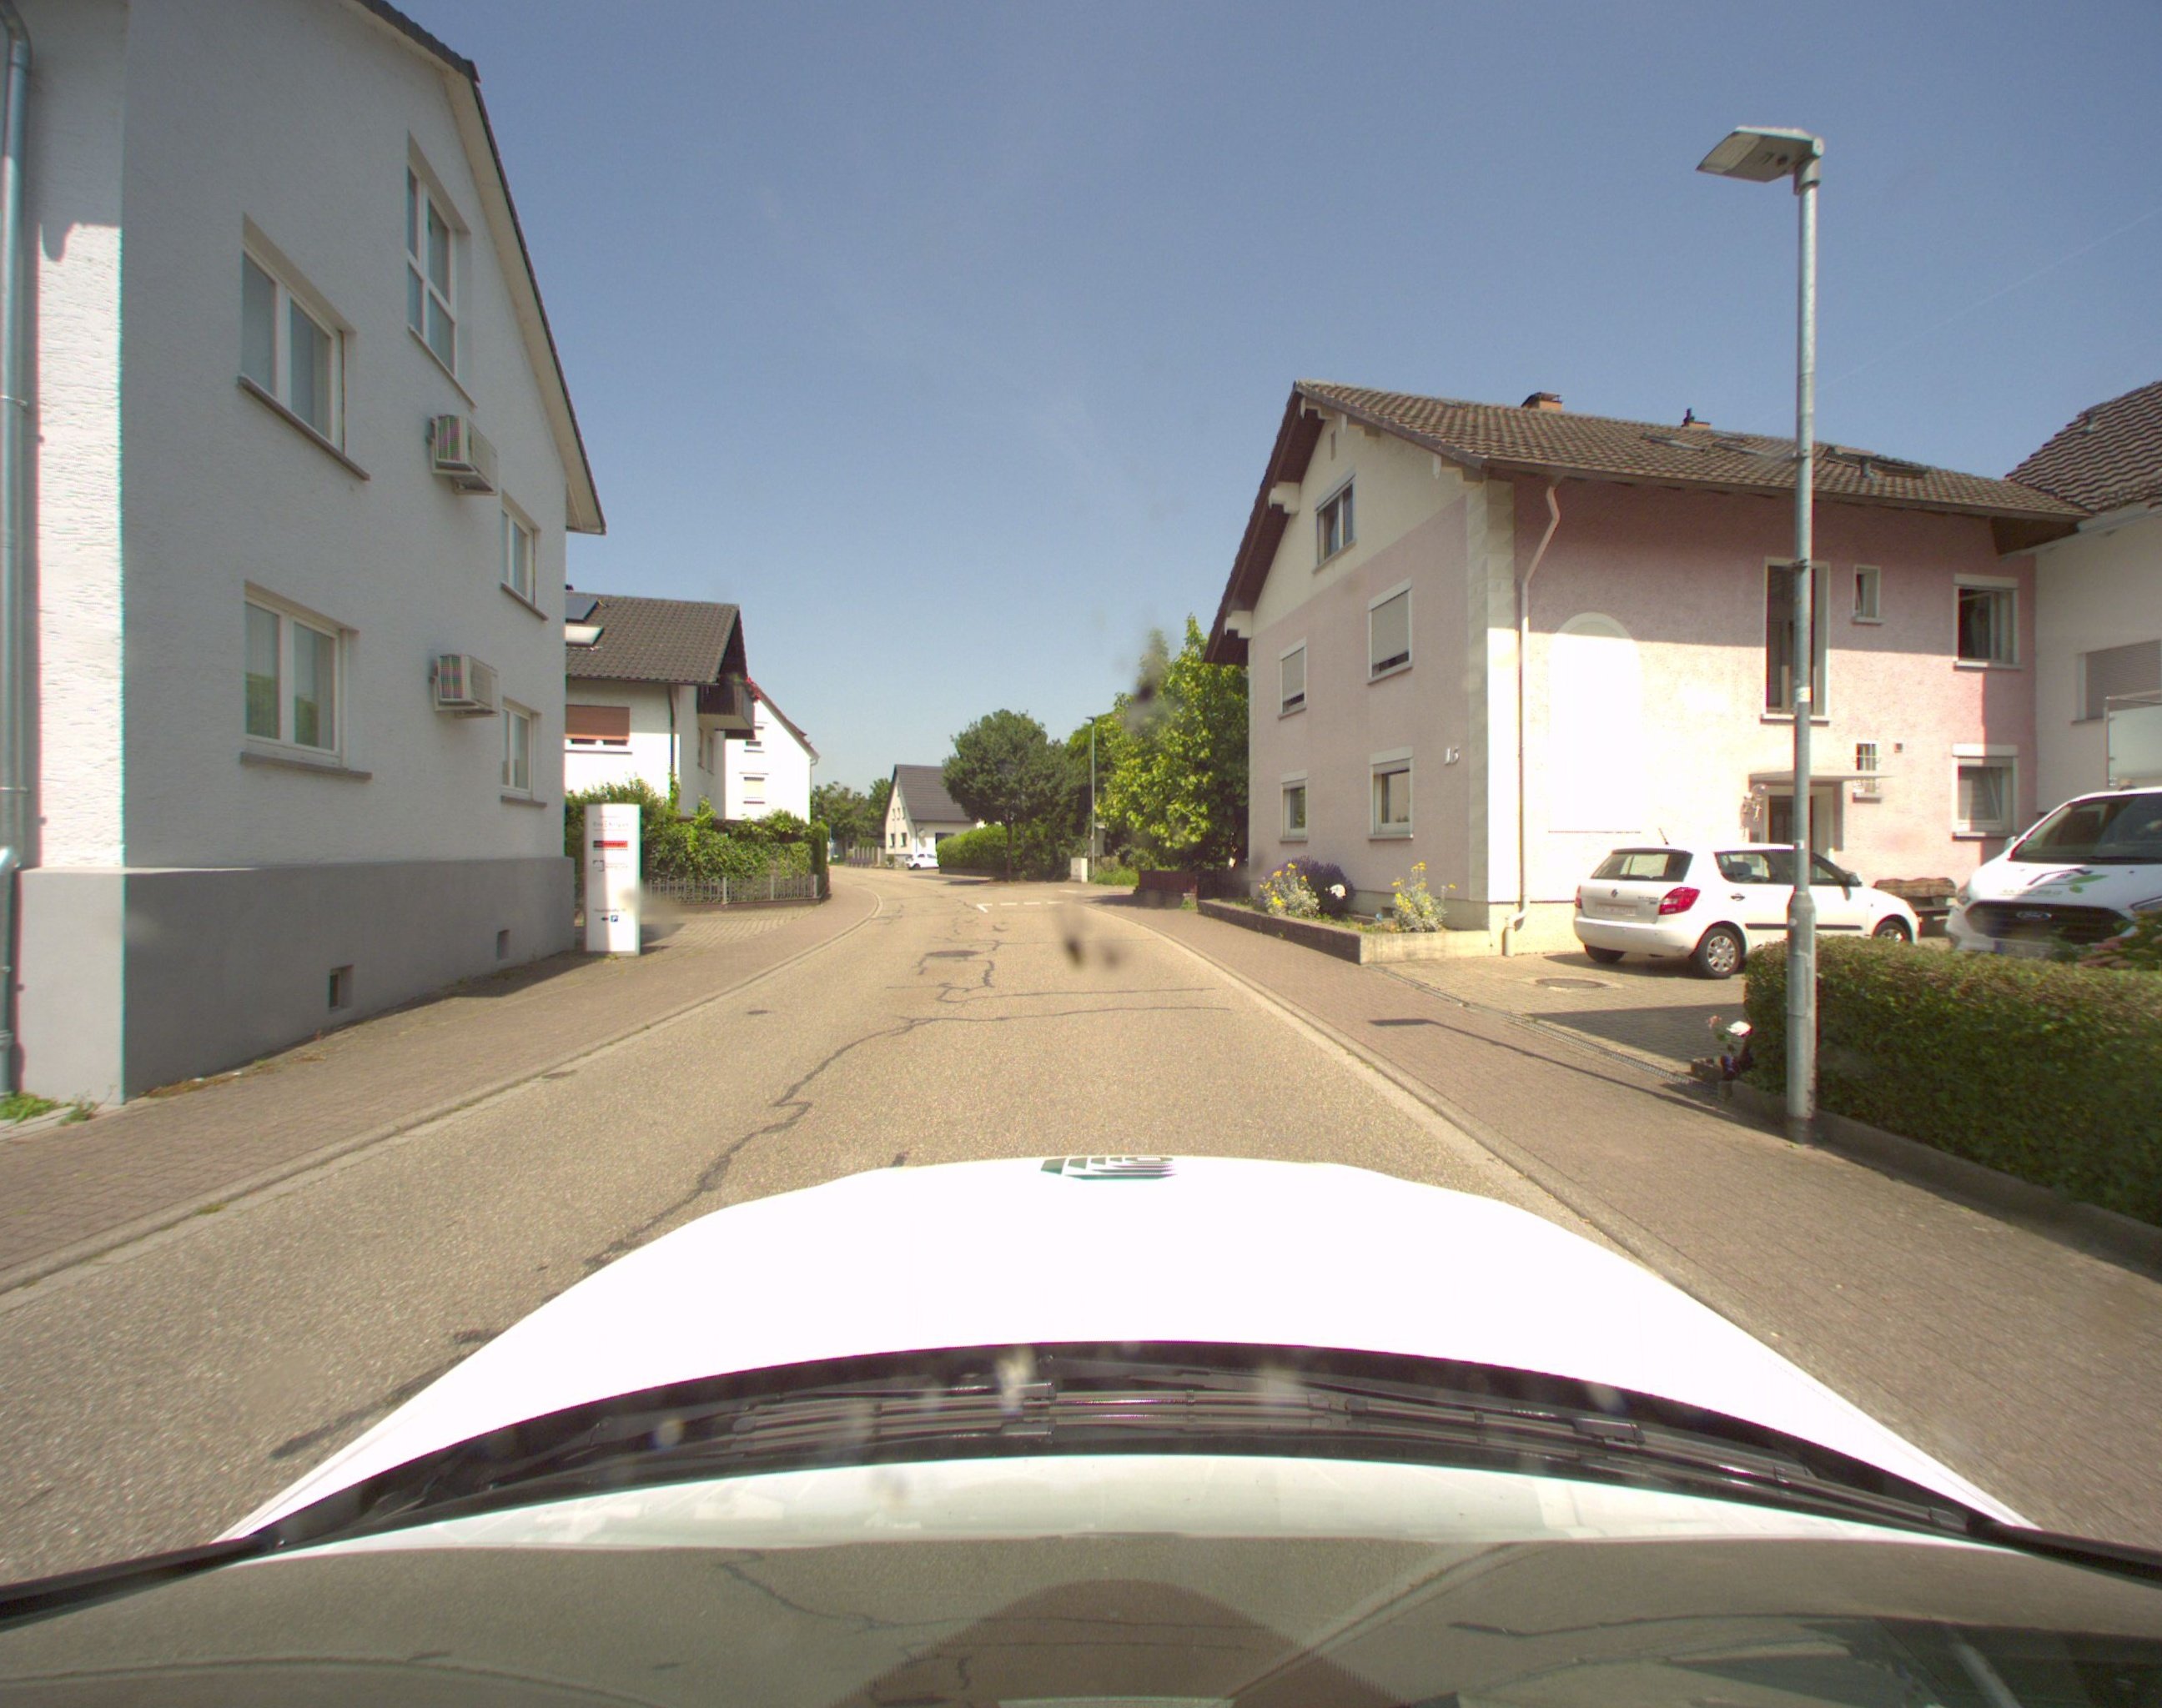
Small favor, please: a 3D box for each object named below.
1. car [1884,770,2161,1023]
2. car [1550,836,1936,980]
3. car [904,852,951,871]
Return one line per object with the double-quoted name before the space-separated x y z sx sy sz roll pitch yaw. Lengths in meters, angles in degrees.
"car" 10.533 0.273 7.343 4.975 1.913 2.051 -1 0 -7
"car" 7.924 0.561 9.857 3.751 1.461 1.673 -1 0 -13
"car" -13.623 0.632 72.201 3.682 1.474 1.748 -2 2 -31
